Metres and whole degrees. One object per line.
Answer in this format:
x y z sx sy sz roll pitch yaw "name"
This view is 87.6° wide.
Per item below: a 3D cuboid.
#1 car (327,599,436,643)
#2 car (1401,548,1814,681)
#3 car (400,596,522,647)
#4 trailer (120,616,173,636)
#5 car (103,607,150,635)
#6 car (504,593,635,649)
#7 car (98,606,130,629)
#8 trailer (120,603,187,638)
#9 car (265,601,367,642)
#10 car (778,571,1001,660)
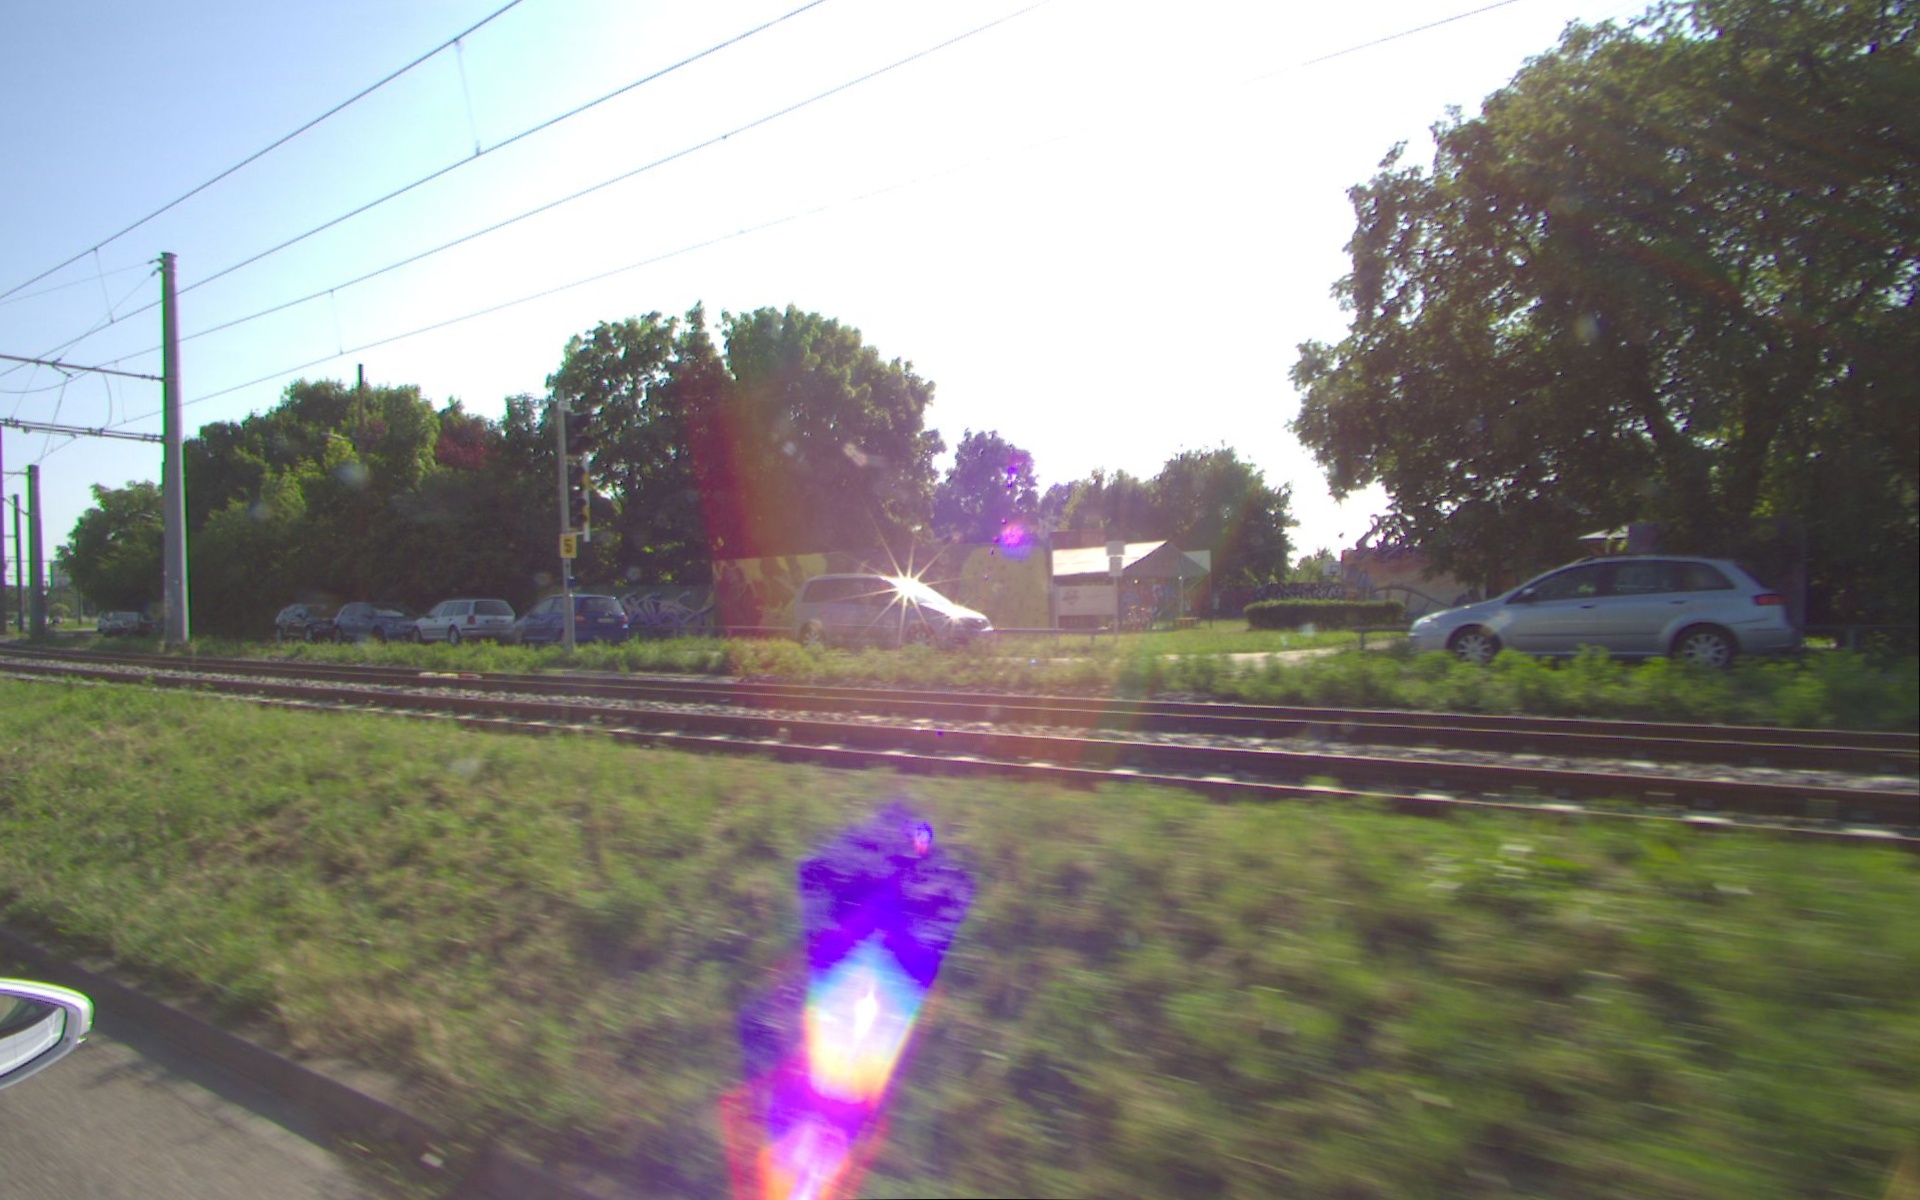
-19.418 0.689 33.565 4.091 1.419 1.481 -1 0 33 "car"
8.970 0.168 14.263 4.664 1.612 1.901 0 1 35 "car"
-15.500 0.626 31.027 4.334 1.485 1.702 0 1 38 "car"
-42.609 1.364 52.414 3.689 0.951 1.722 -1 -3 44 "trailer"
-46.379 1.153 55.666 1.688 1.475 4.833 3 -2 -43 "car"
-10.759 0.563 27.495 3.864 1.448 1.671 0 -1 39 "car"
-77.843 1.622 92.187 1.977 2.030 5.029 3 -3 -37 "car"
-39.877 1.005 49.477 4.214 1.616 2.016 -1 -3 43 "trailer"
-23.527 0.786 36.524 4.461 1.428 1.618 -1 -1 36 "car"
-1.471 0.281 20.152 4.417 1.632 1.519 0 1 31 "car"
